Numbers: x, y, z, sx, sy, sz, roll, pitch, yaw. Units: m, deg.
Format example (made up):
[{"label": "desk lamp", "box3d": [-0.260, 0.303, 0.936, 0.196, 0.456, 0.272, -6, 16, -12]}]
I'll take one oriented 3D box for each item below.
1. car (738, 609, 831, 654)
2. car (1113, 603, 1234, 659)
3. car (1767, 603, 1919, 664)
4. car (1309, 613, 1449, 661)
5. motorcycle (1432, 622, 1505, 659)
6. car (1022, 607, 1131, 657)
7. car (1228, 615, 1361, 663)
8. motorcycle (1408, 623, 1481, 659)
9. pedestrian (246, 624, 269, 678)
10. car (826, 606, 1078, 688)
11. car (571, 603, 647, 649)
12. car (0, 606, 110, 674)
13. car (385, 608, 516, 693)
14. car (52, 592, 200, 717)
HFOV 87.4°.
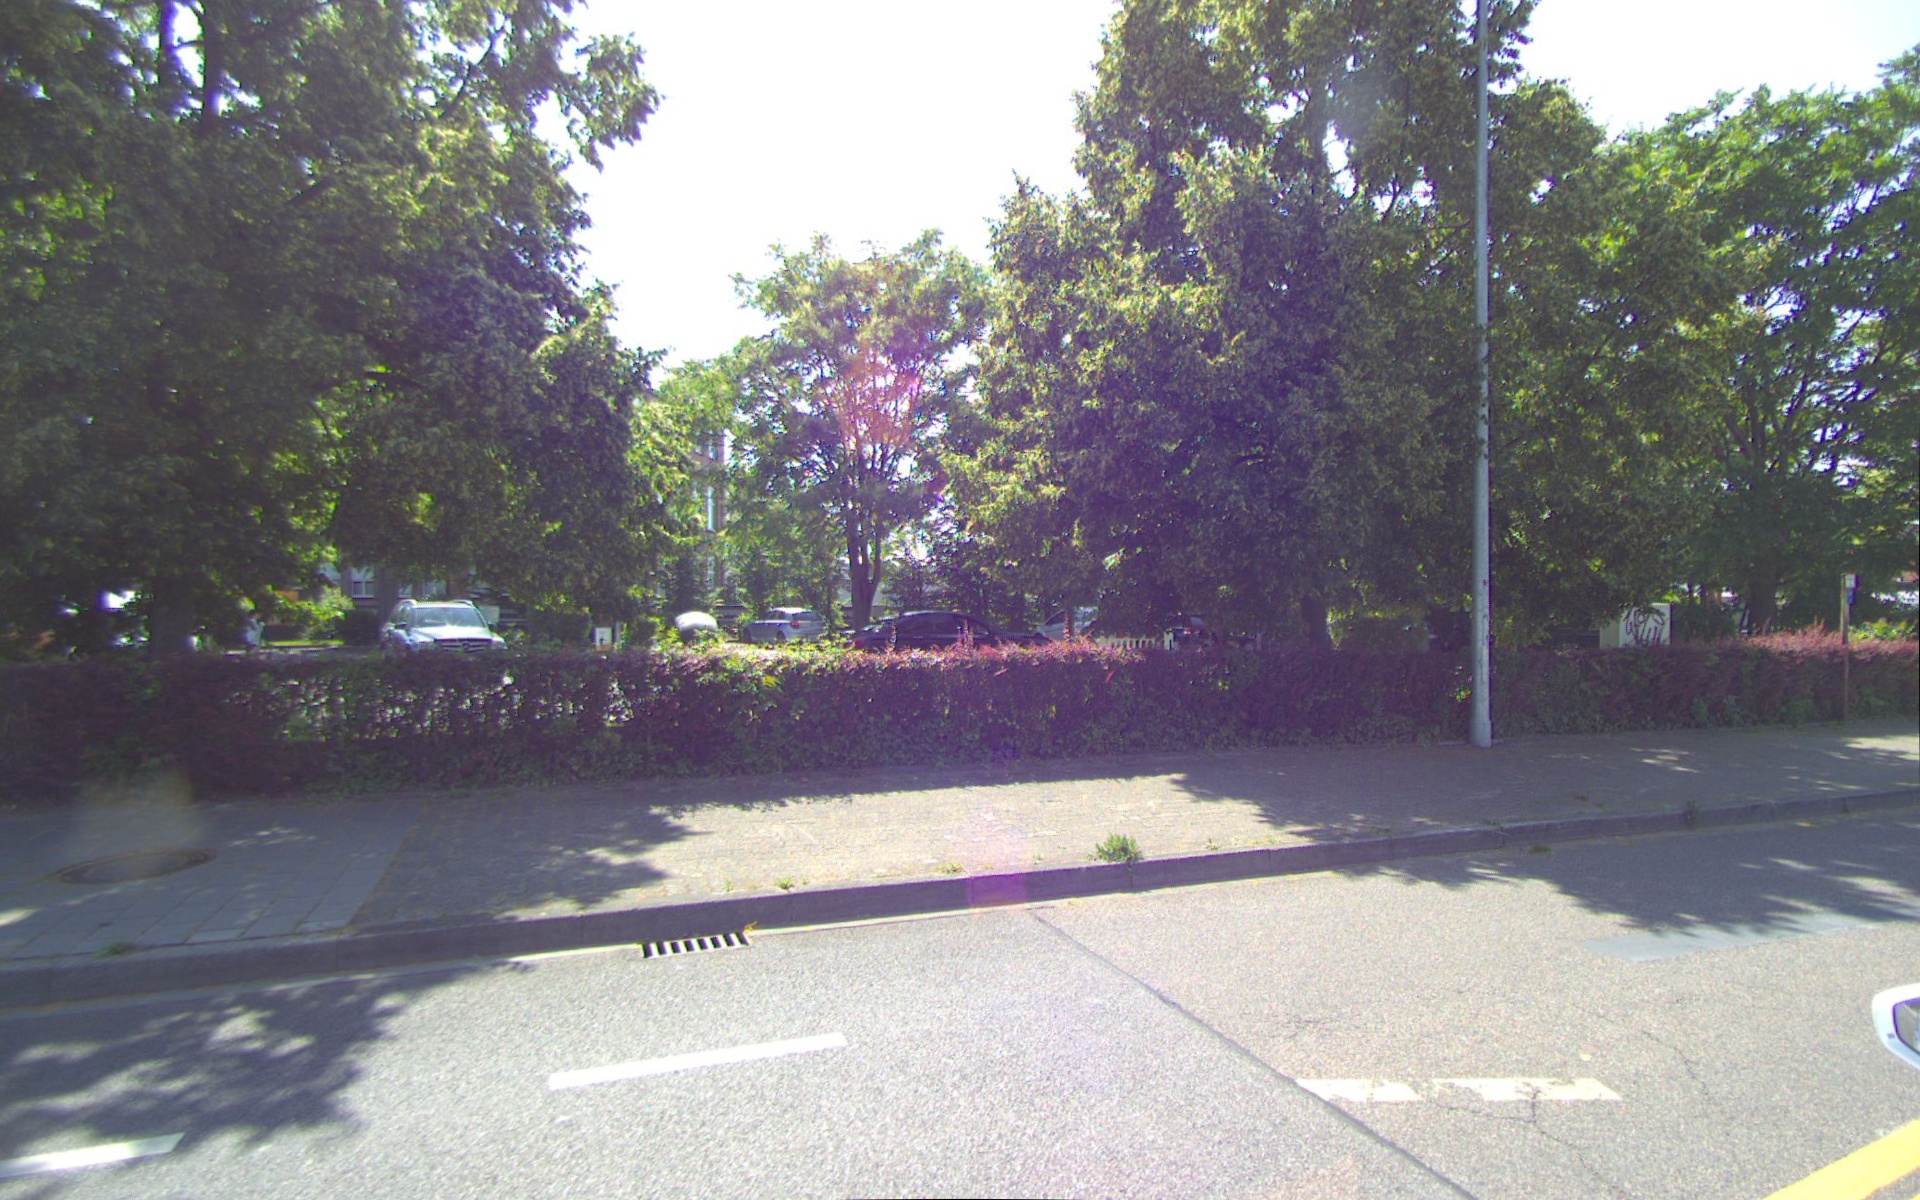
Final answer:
[{"label": "car", "box3d": [-6.340, 1.074, 36.057, 1.776, 1.470, 4.008, 0, 0, -35]}, {"label": "car", "box3d": [7.260, 1.017, 34.495, 1.783, 1.755, 3.986, 0, 0, -33]}, {"label": "car", "box3d": [31.085, 1.263, 35.542, 1.854, 1.945, 4.530, -3, -4, 10]}, {"label": "car", "box3d": [13.906, 1.187, 33.547, 1.751, 1.406, 4.057, 1, 0, -33]}, {"label": "motorcycle", "box3d": [17.269, 1.359, 34.151, 2.151, 1.147, 0.567, 1, 0, 41]}, {"label": "car", "box3d": [3.971, 1.057, 34.734, 1.627, 1.609, 3.812, 0, 0, -35]}, {"label": "car", "box3d": [10.935, 1.236, 33.039, 1.610, 1.414, 4.033, 0, 0, -33]}, {"label": "motorcycle", "box3d": [16.366, 1.377, 33.962, 2.151, 1.131, 0.567, 1, 0, 41]}, {"label": "pedestrian", "box3d": [-19.830, 1.429, 28.374, 0.489, 1.480, 0.547, 0, 2, -31]}, {"label": "car", "box3d": [-0.180, 0.958, 21.319, 4.954, 1.581, 2.065, 1, -1, -21]}, {"label": "car", "box3d": [-13.079, 0.929, 37.311, 1.800, 1.598, 3.834, 0, 0, -33]}, {"label": "car", "box3d": [-23.928, 0.990, 25.275, 3.685, 1.654, 1.653, 1, 0, -34]}, {"label": "car", "box3d": [-10.966, 0.992, 21.488, 1.888, 1.605, 3.770, 0, 0, -37]}, {"label": "car", "box3d": [-14.117, 0.812, 17.117, 1.734, 1.852, 4.305, -1, 0, -39]}]
